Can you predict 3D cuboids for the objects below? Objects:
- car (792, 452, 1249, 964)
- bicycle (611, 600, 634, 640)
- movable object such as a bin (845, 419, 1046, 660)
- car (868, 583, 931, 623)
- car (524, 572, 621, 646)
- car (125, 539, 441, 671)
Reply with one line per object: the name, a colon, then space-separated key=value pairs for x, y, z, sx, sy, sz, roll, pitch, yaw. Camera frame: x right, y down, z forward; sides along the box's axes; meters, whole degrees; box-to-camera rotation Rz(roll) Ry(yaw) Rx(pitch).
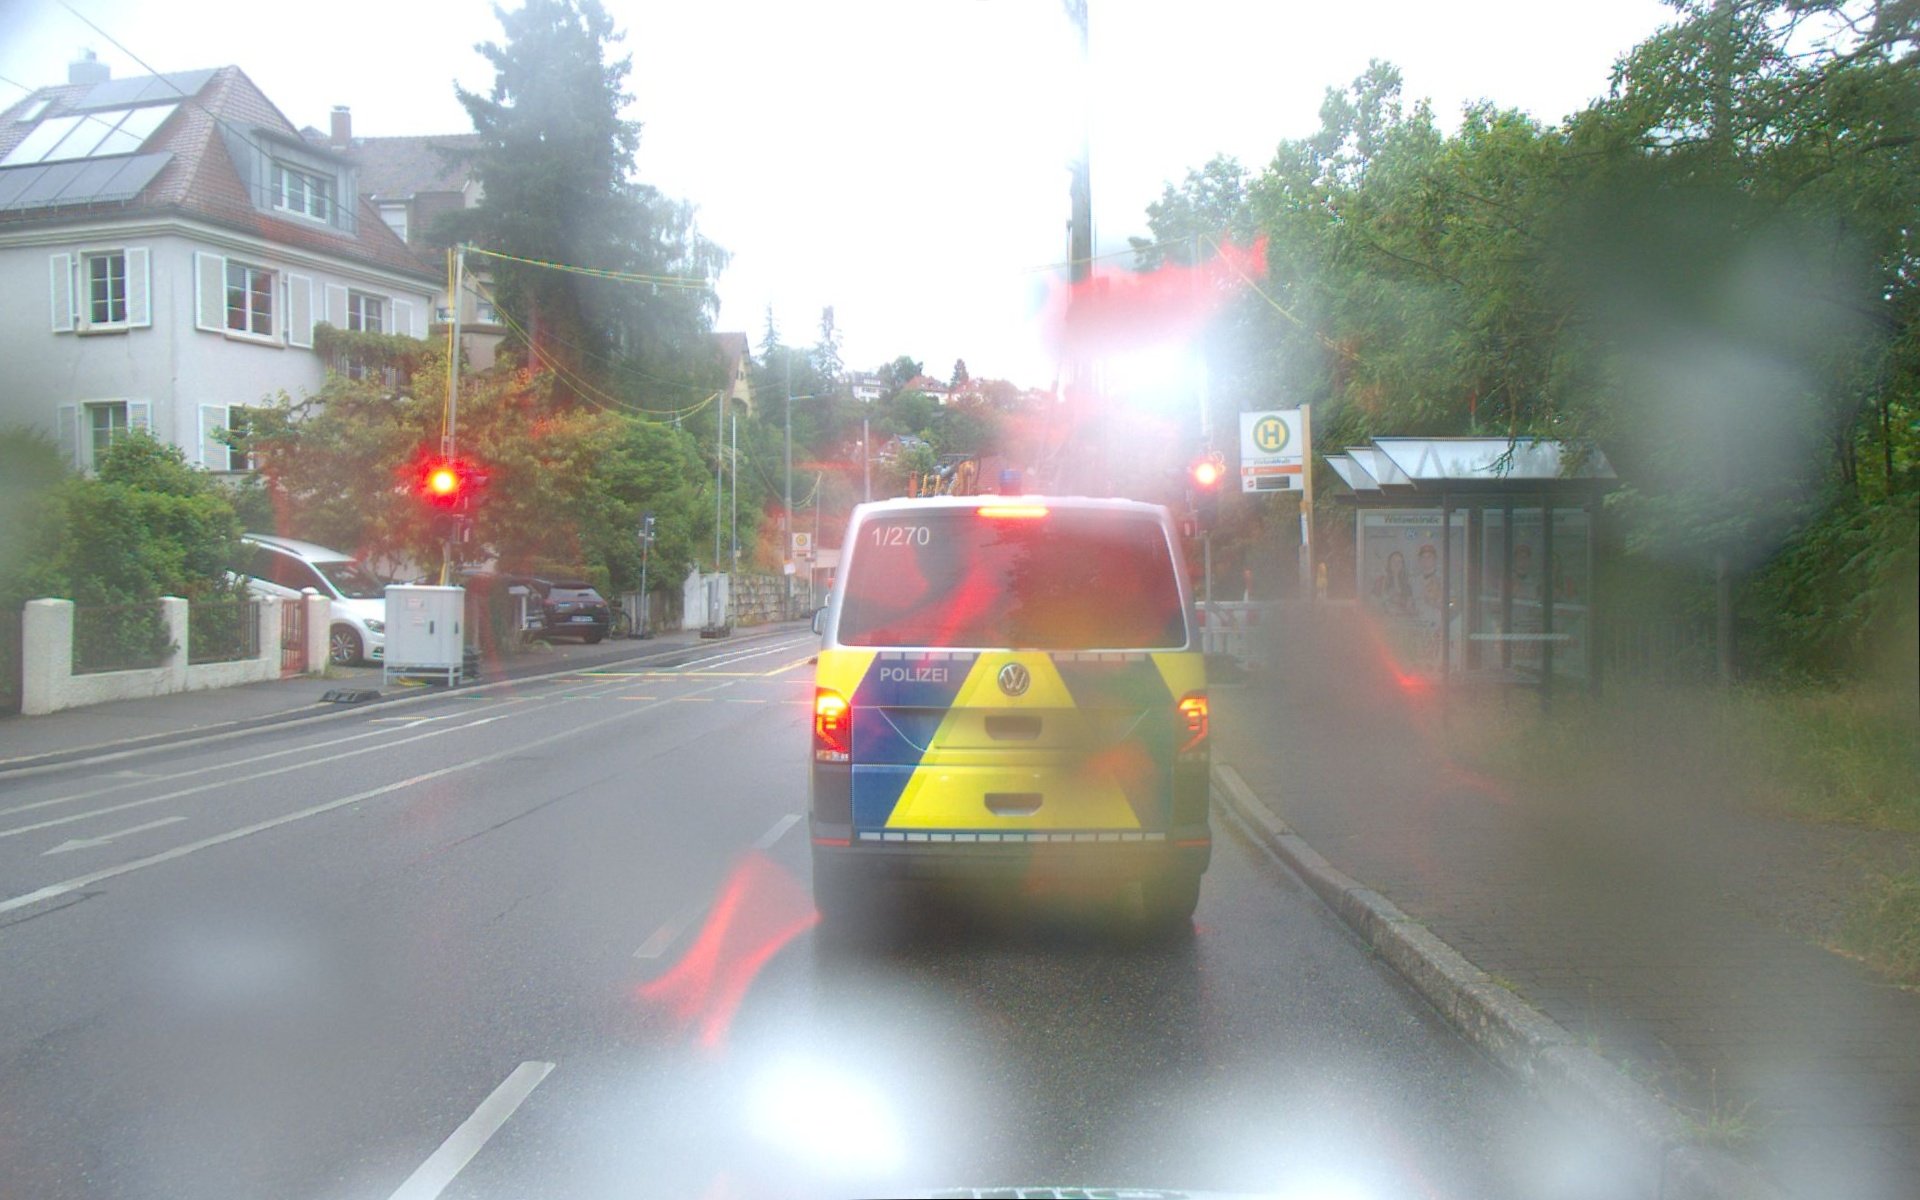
car: x=0.225 y=0.437 z=8.832 sx=1.855 sy=2.086 sz=3.999 roll=1 pitch=0 yaw=-1
bicycle: x=-8.059 y=0.467 z=39.465 sx=0.455 sy=0.913 sz=1.628 roll=0 pitch=0 yaw=-15
movable object such as a bin: x=-0.170 y=-1.094 z=31.650 sx=2.770 sy=4.250 sz=4.384 roll=1 pitch=0 yaw=14
car: x=-2.459 y=0.146 z=67.993 sx=1.813 sy=1.554 sz=4.823 roll=1 pitch=0 yaw=7
car: x=-8.916 y=0.176 z=37.839 sx=1.739 sy=1.512 sz=3.721 roll=1 pitch=2 yaw=-20
car: x=-11.213 y=0.057 z=27.500 sx=4.532 sy=2.042 sz=1.902 roll=1 pitch=0 yaw=11
